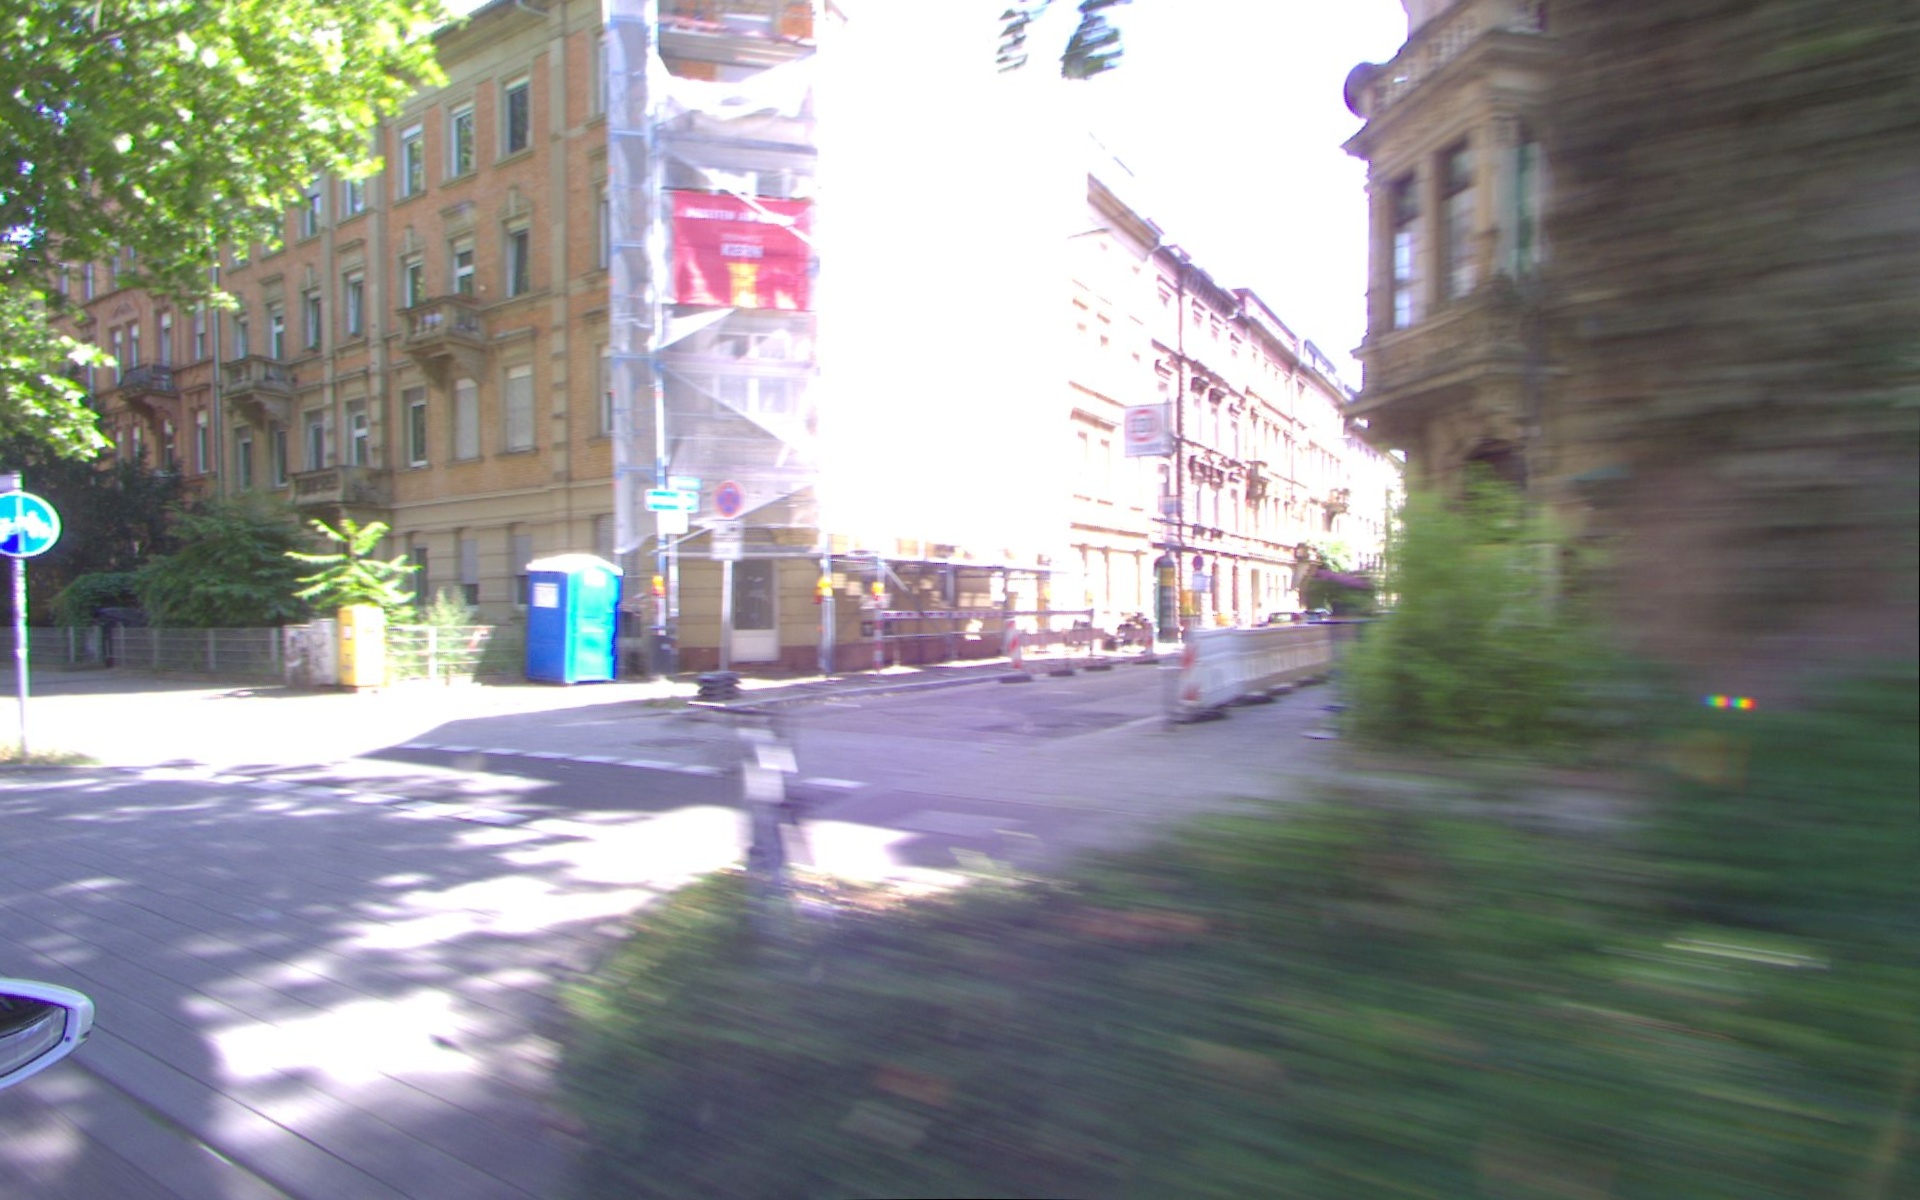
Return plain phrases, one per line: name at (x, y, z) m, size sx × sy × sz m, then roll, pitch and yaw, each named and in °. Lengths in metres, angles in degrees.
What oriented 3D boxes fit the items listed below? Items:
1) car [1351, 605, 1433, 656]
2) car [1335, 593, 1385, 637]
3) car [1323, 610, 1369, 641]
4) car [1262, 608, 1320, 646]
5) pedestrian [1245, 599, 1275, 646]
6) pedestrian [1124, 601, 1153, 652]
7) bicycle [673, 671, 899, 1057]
car at (14.402, 0.957, 33.250) m, size 1.971 × 1.572 × 3.980 m, roll 0°, pitch 0°, yaw 31°
car at (22.911, 0.857, 57.272) m, size 1.886 × 2.405 × 4.224 m, roll 0°, pitch 0°, yaw 33°
car at (20.345, 1.298, 52.729) m, size 1.702 × 1.549 × 3.478 m, roll 0°, pitch 0°, yaw 30°
car at (14.306, 1.131, 43.184) m, size 1.702 × 1.549 × 3.478 m, roll 0°, pitch 0°, yaw 30°
pedestrian at (11.685, 0.872, 39.012) m, size 0.922 × 1.822 × 1.034 m, roll 0°, pitch 0°, yaw 29°
pedestrian at (6.162, 0.909, 34.586) m, size 0.843 × 1.748 × 0.834 m, roll -1°, pitch 0°, yaw 19°
bicycle at (-0.758, 0.892, 3.973) m, size 0.416 × 1.120 × 1.609 m, roll -1°, pitch 0°, yaw -27°
